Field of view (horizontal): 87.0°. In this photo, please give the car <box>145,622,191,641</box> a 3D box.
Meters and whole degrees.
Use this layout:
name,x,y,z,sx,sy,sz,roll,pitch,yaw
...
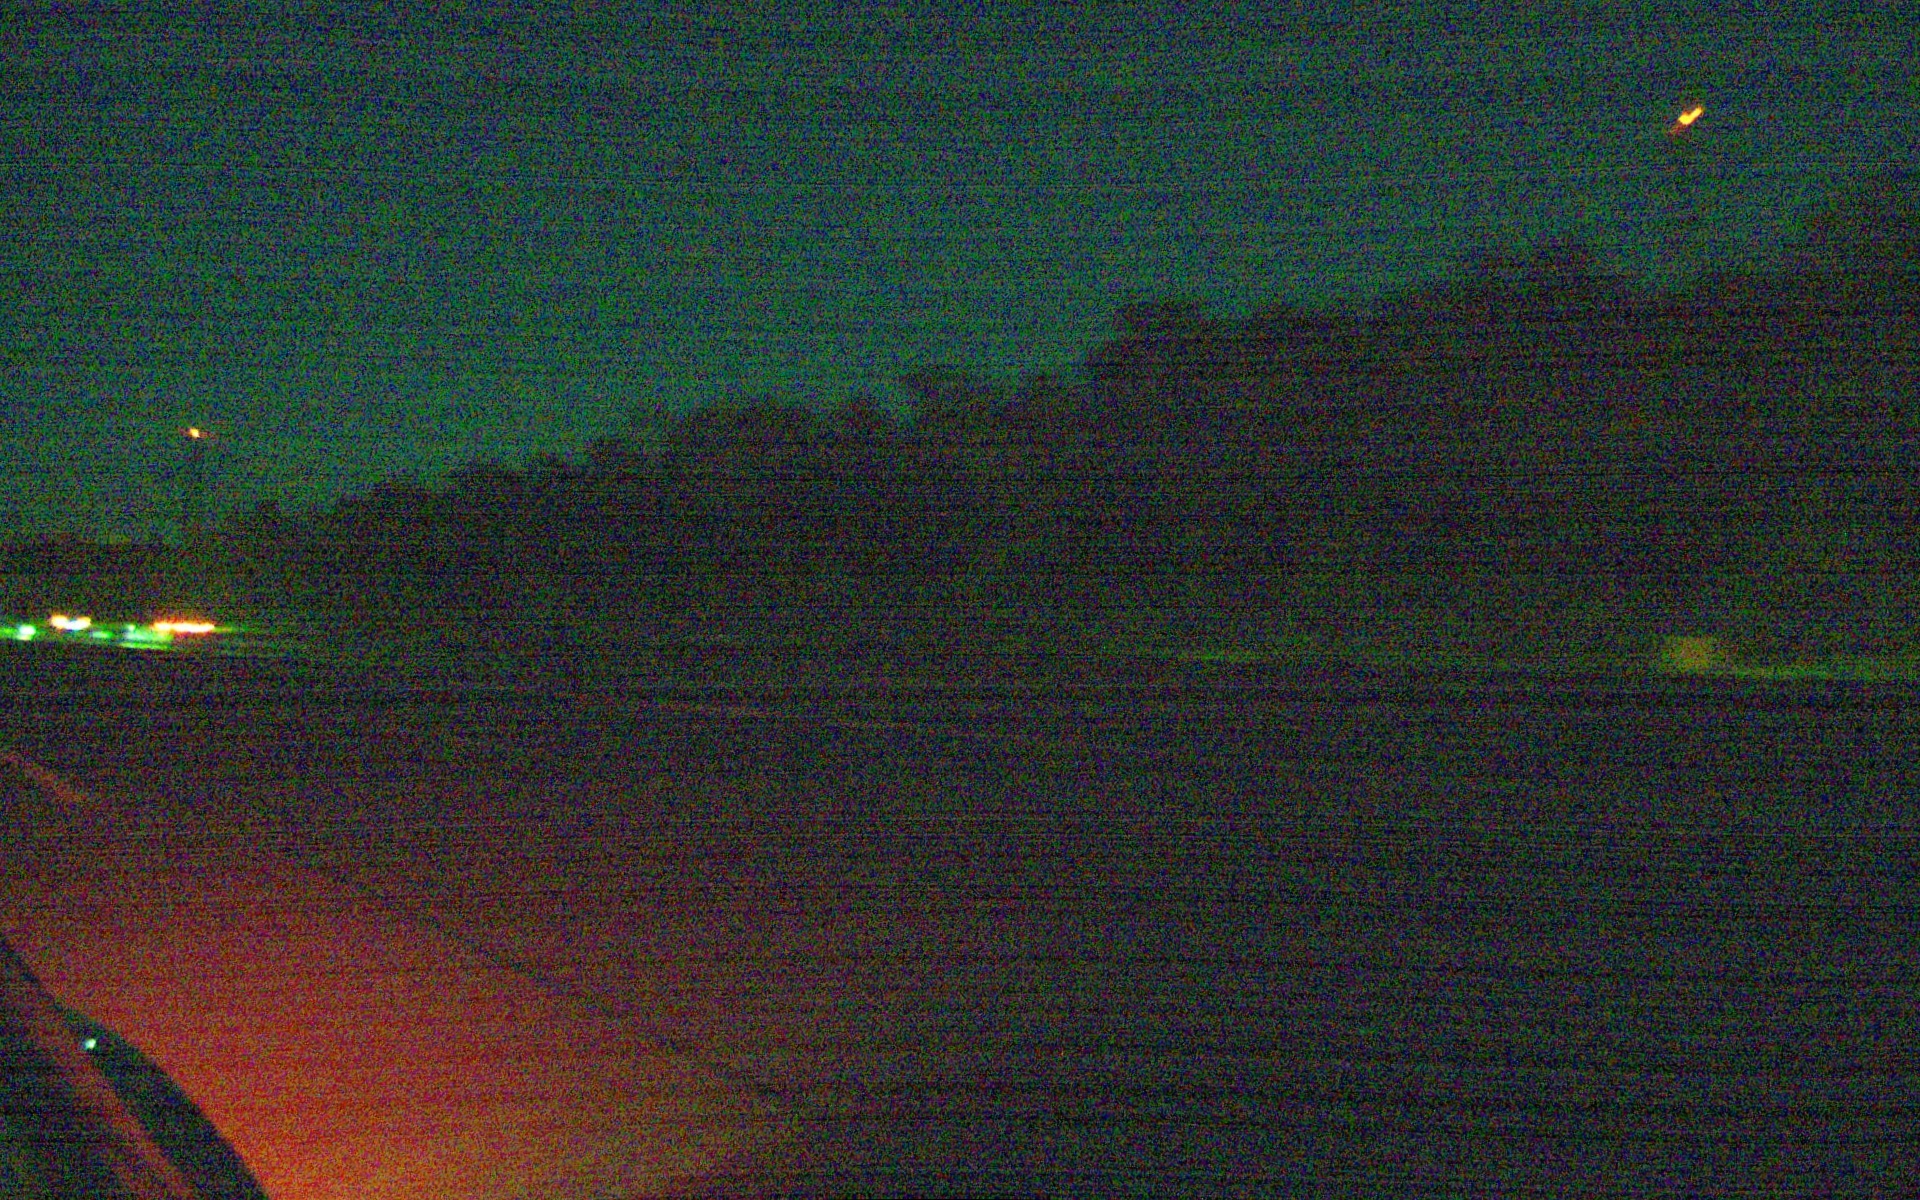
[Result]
name,x,y,z,sx,sy,sz,roll,pitch,yaw
car,-69.107,2.734,88.277,5.071,1.610,2.031,-1,-1,39

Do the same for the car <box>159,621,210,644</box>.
name,x,y,z,sx,sy,sz,roll,pitch,yaw
car,-53.900,2.239,70.336,4.701,1.509,1.842,-1,-1,40

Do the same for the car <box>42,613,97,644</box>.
name,x,y,z,sx,sy,sz,roll,pitch,yaw
car,-86.796,2.737,98.606,7.710,2.879,2.924,-1,-1,40
